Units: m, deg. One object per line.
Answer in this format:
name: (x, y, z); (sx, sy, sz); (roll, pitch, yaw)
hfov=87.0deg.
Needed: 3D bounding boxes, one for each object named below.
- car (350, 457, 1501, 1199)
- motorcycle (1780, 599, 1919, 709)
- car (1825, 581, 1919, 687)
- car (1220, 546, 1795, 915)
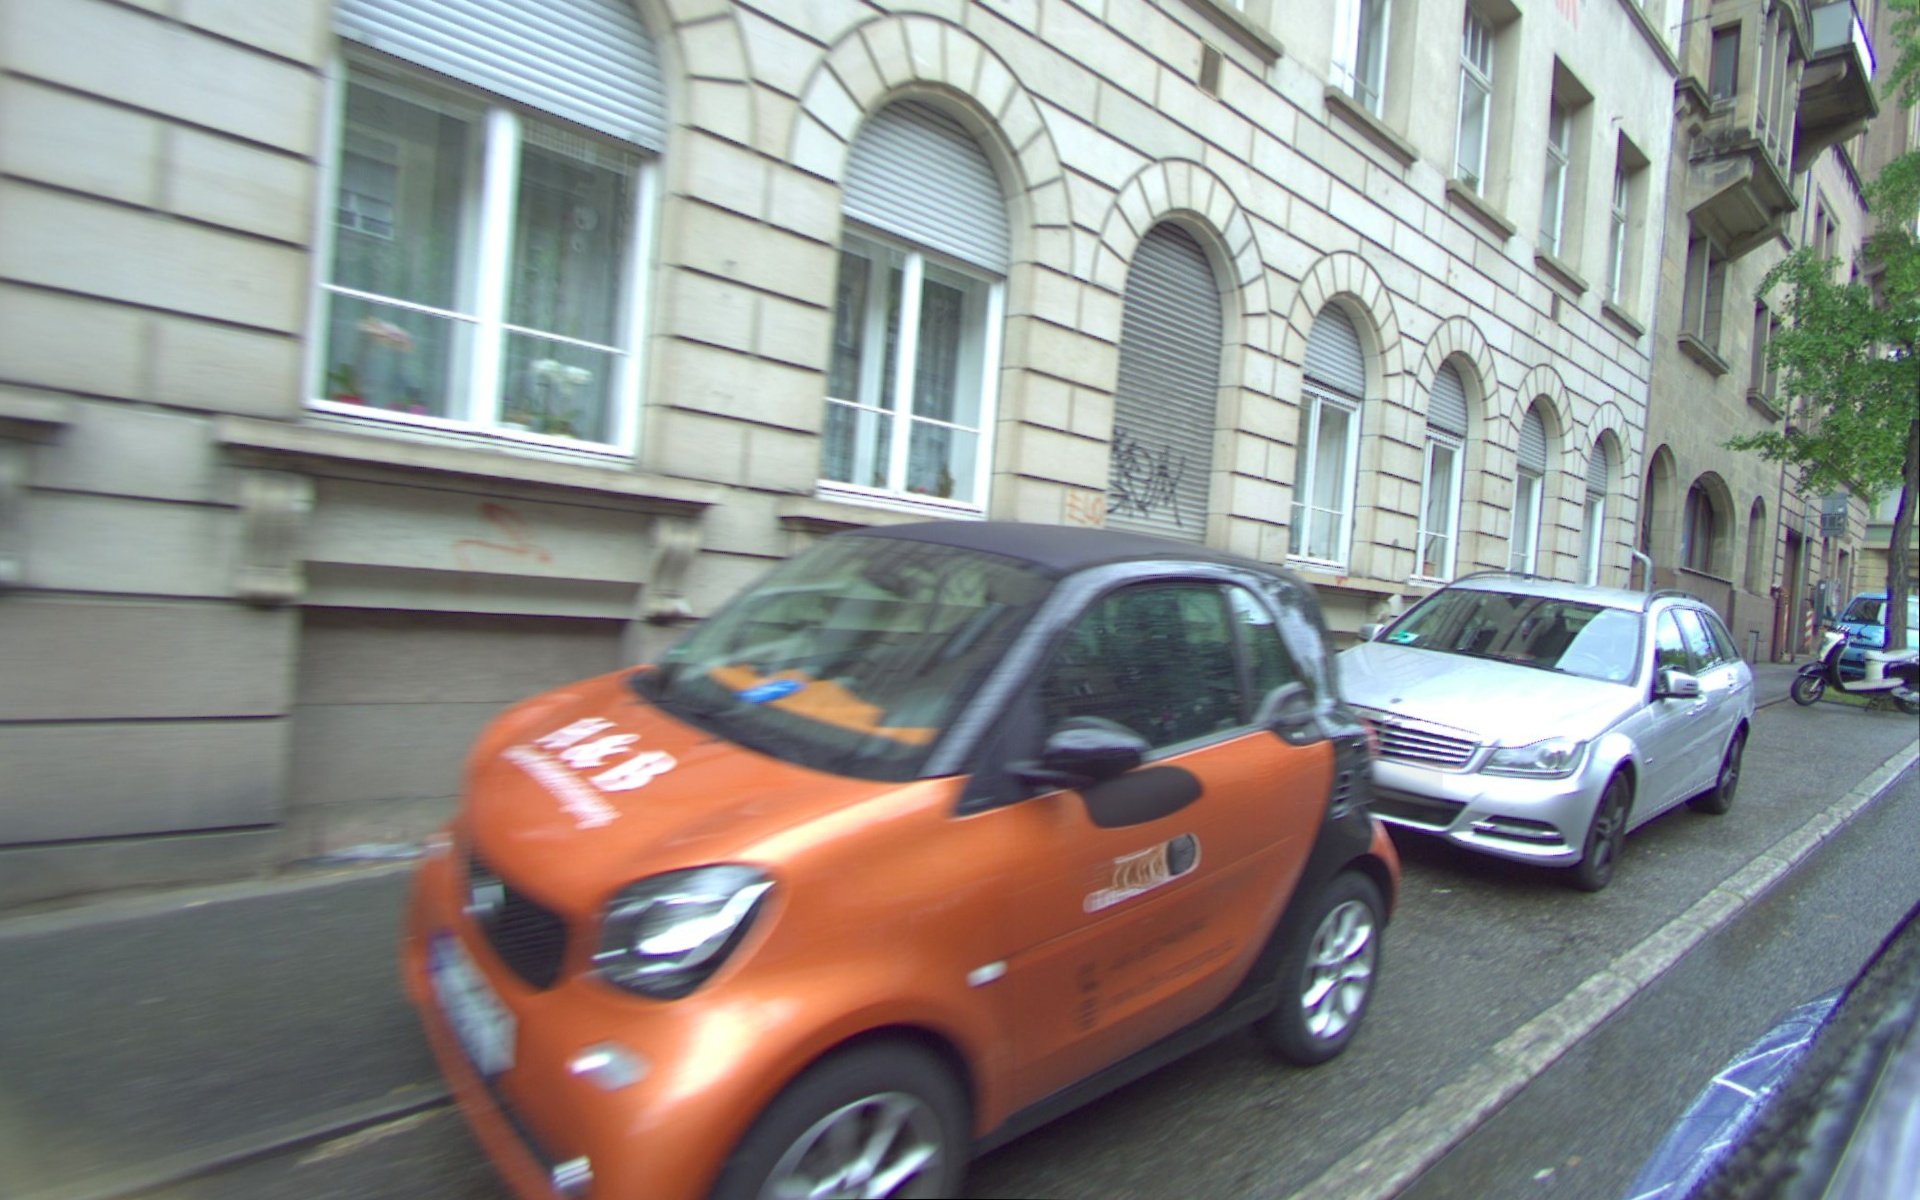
car: (0.117, 0.495, 3.096); (3.128, 1.538, 1.642); (0, 5, -42)
motorcycle: (11.856, 0.705, 12.955); (1.910, 1.250, 0.655); (5, 2, 14)
car: (15.929, 0.537, 16.896); (3.601, 1.561, 1.660); (0, 5, -41)
car: (3.636, 0.526, 6.309); (4.346, 1.448, 1.699); (0, 5, -42)
